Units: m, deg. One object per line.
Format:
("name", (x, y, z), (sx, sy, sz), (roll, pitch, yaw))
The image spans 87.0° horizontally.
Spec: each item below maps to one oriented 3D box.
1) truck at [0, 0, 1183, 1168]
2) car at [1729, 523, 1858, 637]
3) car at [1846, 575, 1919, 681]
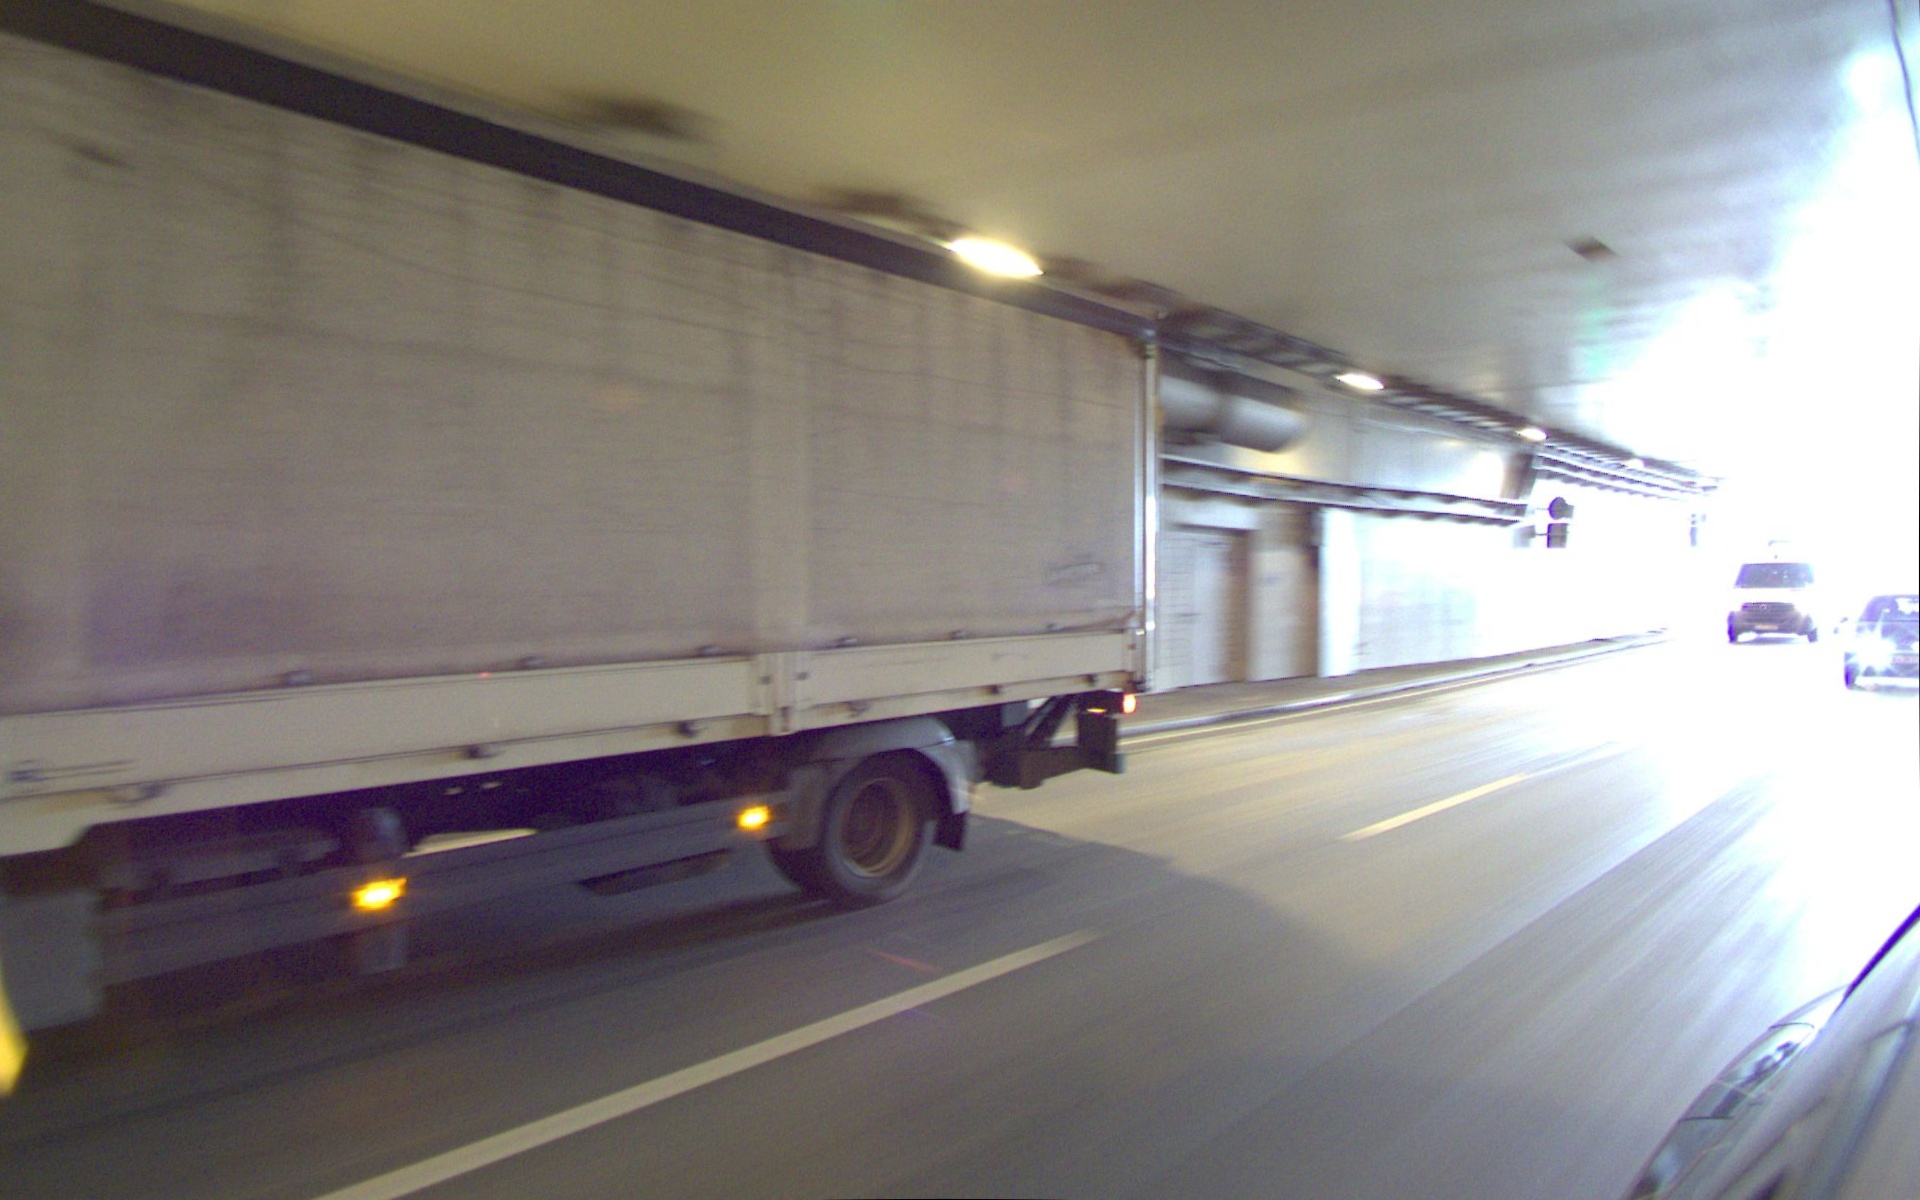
("truck", (-2.051, -0.216, 4.640), (7.127, 3.221, 2.555), (0, 0, -45))
("car", (23.618, -0.592, 28.542), (6.749, 2.882, 2.103), (-2, 2, -44))
("car", (15.812, 0.392, 16.460), (3.652, 1.580, 1.637), (-2, 1, -41))
